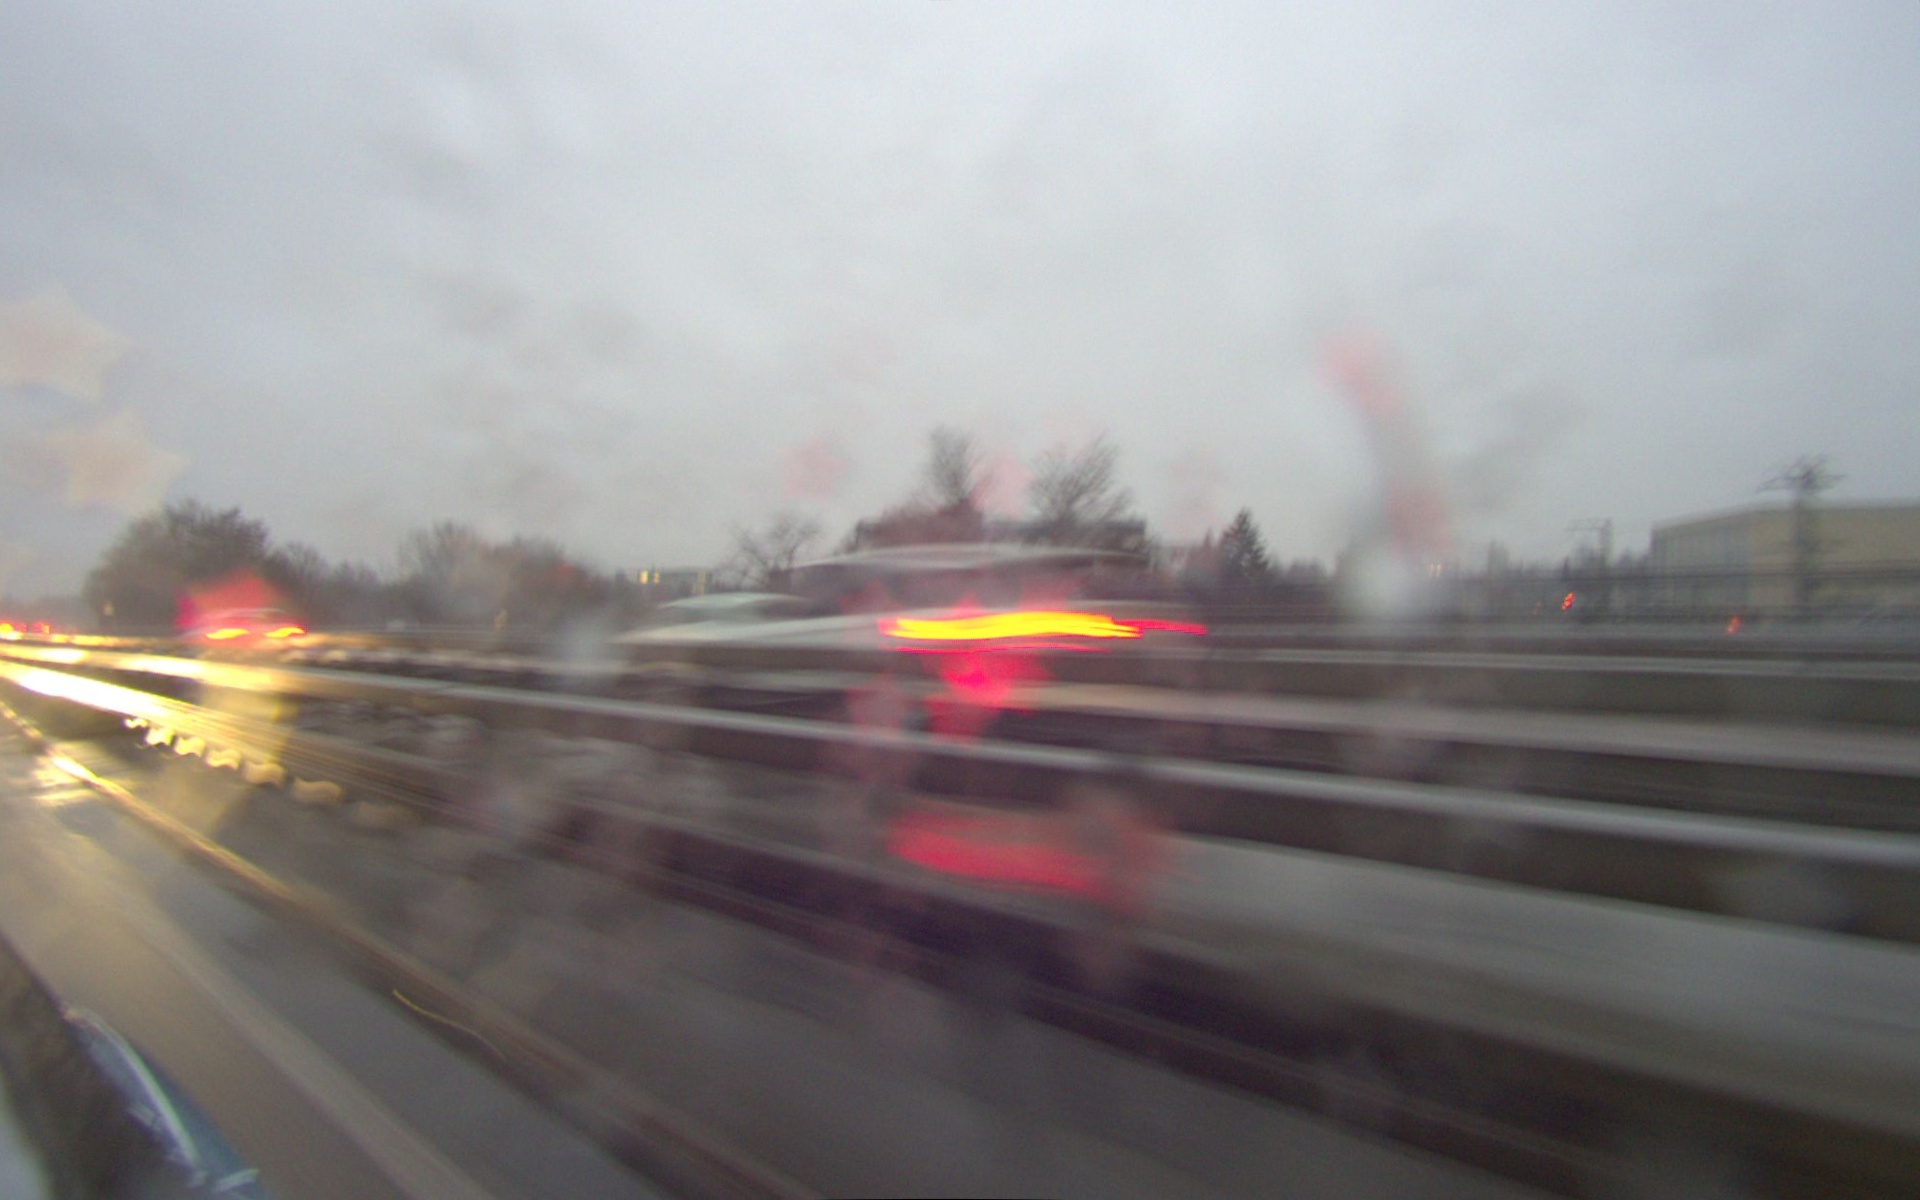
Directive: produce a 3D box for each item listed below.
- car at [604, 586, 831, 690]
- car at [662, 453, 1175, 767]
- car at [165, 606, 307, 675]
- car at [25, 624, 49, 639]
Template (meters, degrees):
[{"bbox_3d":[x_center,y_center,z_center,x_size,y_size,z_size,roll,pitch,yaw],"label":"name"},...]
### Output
[{"bbox_3d":[-4.215,0.632,17.292,3.920,1.578,1.836,-2,-1,41],"label":"car"},{"bbox_3d":[-0.557,0.102,9.224,4.459,2.164,2.060,-2,0,41],"label":"car"},{"bbox_3d":[-17.883,0.966,24.924,4.372,1.513,1.944,-2,0,42],"label":"car"},{"bbox_3d":[-114.900,3.915,125.933,4.705,1.797,1.874,-2,0,44],"label":"car"}]
